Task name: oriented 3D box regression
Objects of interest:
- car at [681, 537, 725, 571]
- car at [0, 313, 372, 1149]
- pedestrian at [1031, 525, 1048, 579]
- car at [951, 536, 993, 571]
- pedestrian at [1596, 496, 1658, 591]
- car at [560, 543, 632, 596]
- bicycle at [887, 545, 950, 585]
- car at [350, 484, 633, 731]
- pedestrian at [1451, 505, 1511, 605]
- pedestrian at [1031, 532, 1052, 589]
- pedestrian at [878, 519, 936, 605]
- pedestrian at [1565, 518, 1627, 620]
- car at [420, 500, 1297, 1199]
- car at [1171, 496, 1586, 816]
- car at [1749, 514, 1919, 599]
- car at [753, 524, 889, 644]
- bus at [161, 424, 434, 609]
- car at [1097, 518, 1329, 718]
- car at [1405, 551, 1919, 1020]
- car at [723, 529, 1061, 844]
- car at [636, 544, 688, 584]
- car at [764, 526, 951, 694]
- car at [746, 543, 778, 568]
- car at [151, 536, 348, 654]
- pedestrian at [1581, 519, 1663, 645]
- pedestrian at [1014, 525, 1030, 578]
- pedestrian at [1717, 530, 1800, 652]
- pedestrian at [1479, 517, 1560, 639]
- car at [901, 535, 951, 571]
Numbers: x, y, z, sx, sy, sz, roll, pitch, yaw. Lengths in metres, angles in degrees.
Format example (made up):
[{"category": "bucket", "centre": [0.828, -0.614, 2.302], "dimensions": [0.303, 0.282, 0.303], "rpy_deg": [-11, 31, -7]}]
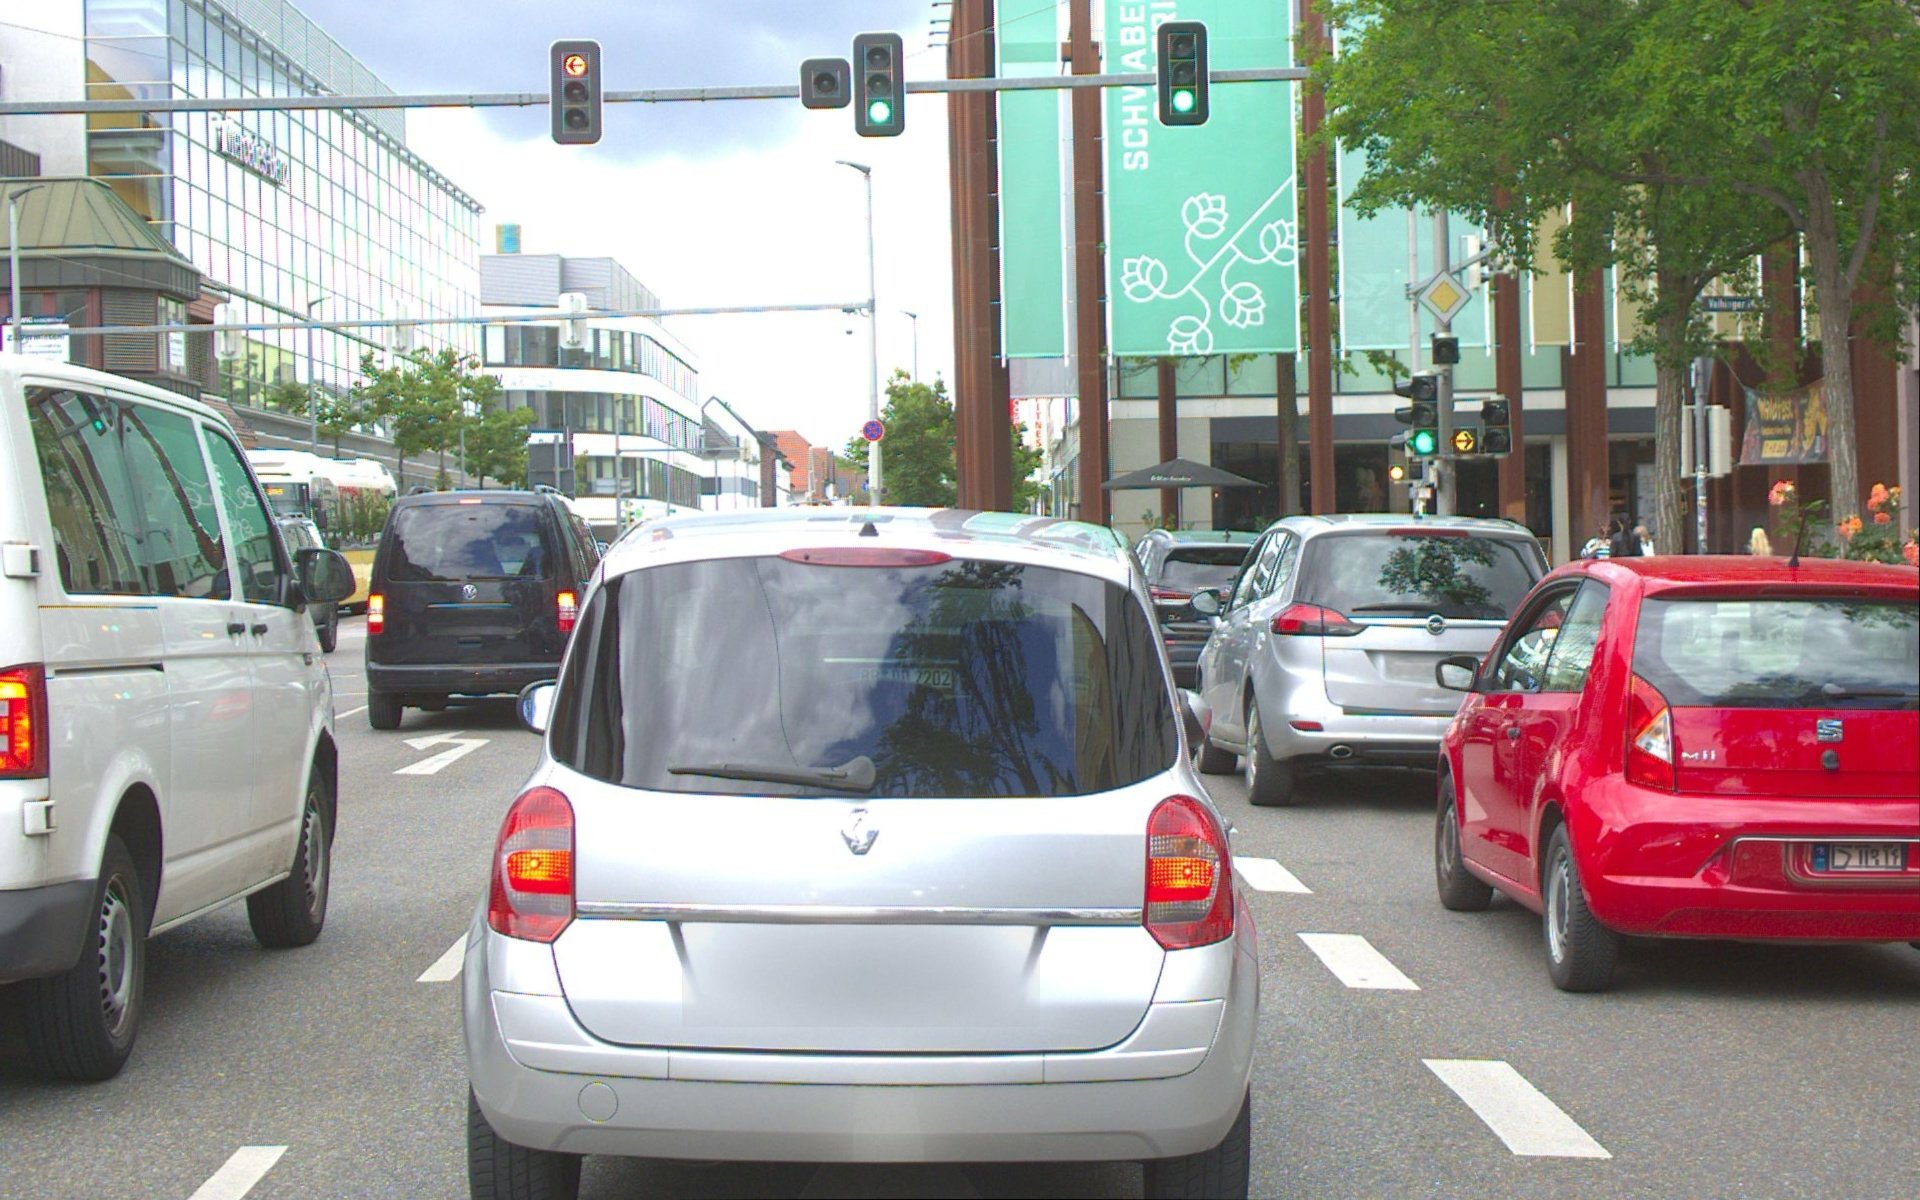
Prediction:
[{"category": "car", "centre": [-11.684, -2.113, 156.527], "dimensions": [1.660, 1.460, 4.000], "rpy_deg": [-2, 1, 0]}, {"category": "car", "centre": [-3.218, 0.258, 10.662], "dimensions": [1.993, 2.007, 4.840], "rpy_deg": [1, 1, -1]}, {"category": "pedestrian", "centre": [2.303, -1.394, 99.378], "dimensions": [0.427, 1.544, 0.481], "rpy_deg": [-1, 1, -2]}, {"category": "car", "centre": [0.548, -2.171, 158.732], "dimensions": [1.877, 1.559, 4.000], "rpy_deg": [1, 1, 0]}, {"category": "pedestrian", "centre": [11.385, -0.967, 58.709], "dimensions": [0.821, 1.589, 1.039], "rpy_deg": [-1, 1, -1]}, {"category": "car", "centre": [-10.637, -0.908, 100.723], "dimensions": [1.660, 1.460, 4.000], "rpy_deg": [-2, 1, 0]}, {"category": "bicycle", "centre": [-1.052, -0.896, 88.076], "dimensions": [1.561, 0.989, 0.752], "rpy_deg": [-1, 1, 3]}, {"category": "car", "centre": [-3.718, 0.011, 27.977], "dimensions": [1.707, 1.814, 4.572], "rpy_deg": [1, 1, -1]}, {"category": "pedestrian", "centre": [8.564, -0.744, 56.530], "dimensions": [0.741, 1.620, 0.954], "rpy_deg": [-1, 1, -4]}, {"category": "pedestrian", "centre": [1.768, -0.853, 74.507], "dimensions": [0.447, 1.216, 0.606], "rpy_deg": [-1, 1, 2]}, {"category": "pedestrian", "centre": [-1.028, -0.731, 66.434], "dimensions": [0.871, 1.641, 0.679], "rpy_deg": [0, 2, 34]}, {"category": "pedestrian", "centre": [10.321, -0.505, 55.800], "dimensions": [0.741, 1.620, 0.954], "rpy_deg": [-1, 1, -4]}, {"category": "car", "centre": [-0.219, 0.559, 8.462], "dimensions": [1.669, 1.549, 3.642], "rpy_deg": [1, 1, -1]}, {"category": "car", "centre": [2.389, 0.258, 20.700], "dimensions": [1.739, 1.695, 4.381], "rpy_deg": [1, 1, -3]}, {"category": "car", "centre": [15.492, -0.737, 57.439], "dimensions": [4.172, 1.399, 1.801], "rpy_deg": [0, 1, -3]}, {"category": "car", "centre": [-1.806, -0.242, 45.470], "dimensions": [1.669, 1.490, 3.642], "rpy_deg": [1, 1, -1]}, {"category": "bus", "centre": [-13.401, -1.715, 70.776], "dimensions": [2.987, 3.316, 12.307], "rpy_deg": [-3, 1, 0]}, {"category": "car", "centre": [2.265, 0.111, 31.740], "dimensions": [1.739, 1.695, 4.381], "rpy_deg": [1, 1, -1]}, {"category": "car", "centre": [2.725, 0.567, 12.686], "dimensions": [1.626, 1.443, 3.642], "rpy_deg": [1, 1, -1]}, {"category": "car", "centre": [-0.360, 0.396, 19.045], "dimensions": [1.669, 1.549, 3.642], "rpy_deg": [1, 1, -1]}, {"category": "car", "centre": [-11.598, -1.397, 133.924], "dimensions": [1.660, 1.460, 4.000], "rpy_deg": [-2, 1, 0]}, {"category": "car", "centre": [-0.947, 0.055, 32.905], "dimensions": [1.669, 1.490, 3.642], "rpy_deg": [1, 1, -1]}, {"category": "car", "centre": [-11.909, -2.687, 206.936], "dimensions": [1.660, 1.460, 4.000], "rpy_deg": [-2, 1, 0]}, {"category": "car", "centre": [-9.331, -0.083, 45.418], "dimensions": [1.759, 1.443, 4.036], "rpy_deg": [-1, 1, 0]}, {"category": "pedestrian", "centre": [9.436, -0.264, 49.020], "dimensions": [0.878, 1.761, 1.120], "rpy_deg": [-1, 1, -3]}, {"category": "pedestrian", "centre": [1.786, -1.400, 99.283], "dimensions": [0.427, 1.544, 0.481], "rpy_deg": [-1, 1, -2]}, {"category": "pedestrian", "centre": [11.704, -0.142, 50.437], "dimensions": [0.878, 1.761, 1.120], "rpy_deg": [-1, 1, -3]}, {"category": "pedestrian", "centre": [7.892, -0.317, 48.499], "dimensions": [0.878, 1.675, 1.120], "rpy_deg": [-1, 1, -3]}, {"category": "car", "centre": [-1.292, -1.827, 132.192], "dimensions": [1.877, 1.330, 4.000], "rpy_deg": [1, 1, 0]}]
